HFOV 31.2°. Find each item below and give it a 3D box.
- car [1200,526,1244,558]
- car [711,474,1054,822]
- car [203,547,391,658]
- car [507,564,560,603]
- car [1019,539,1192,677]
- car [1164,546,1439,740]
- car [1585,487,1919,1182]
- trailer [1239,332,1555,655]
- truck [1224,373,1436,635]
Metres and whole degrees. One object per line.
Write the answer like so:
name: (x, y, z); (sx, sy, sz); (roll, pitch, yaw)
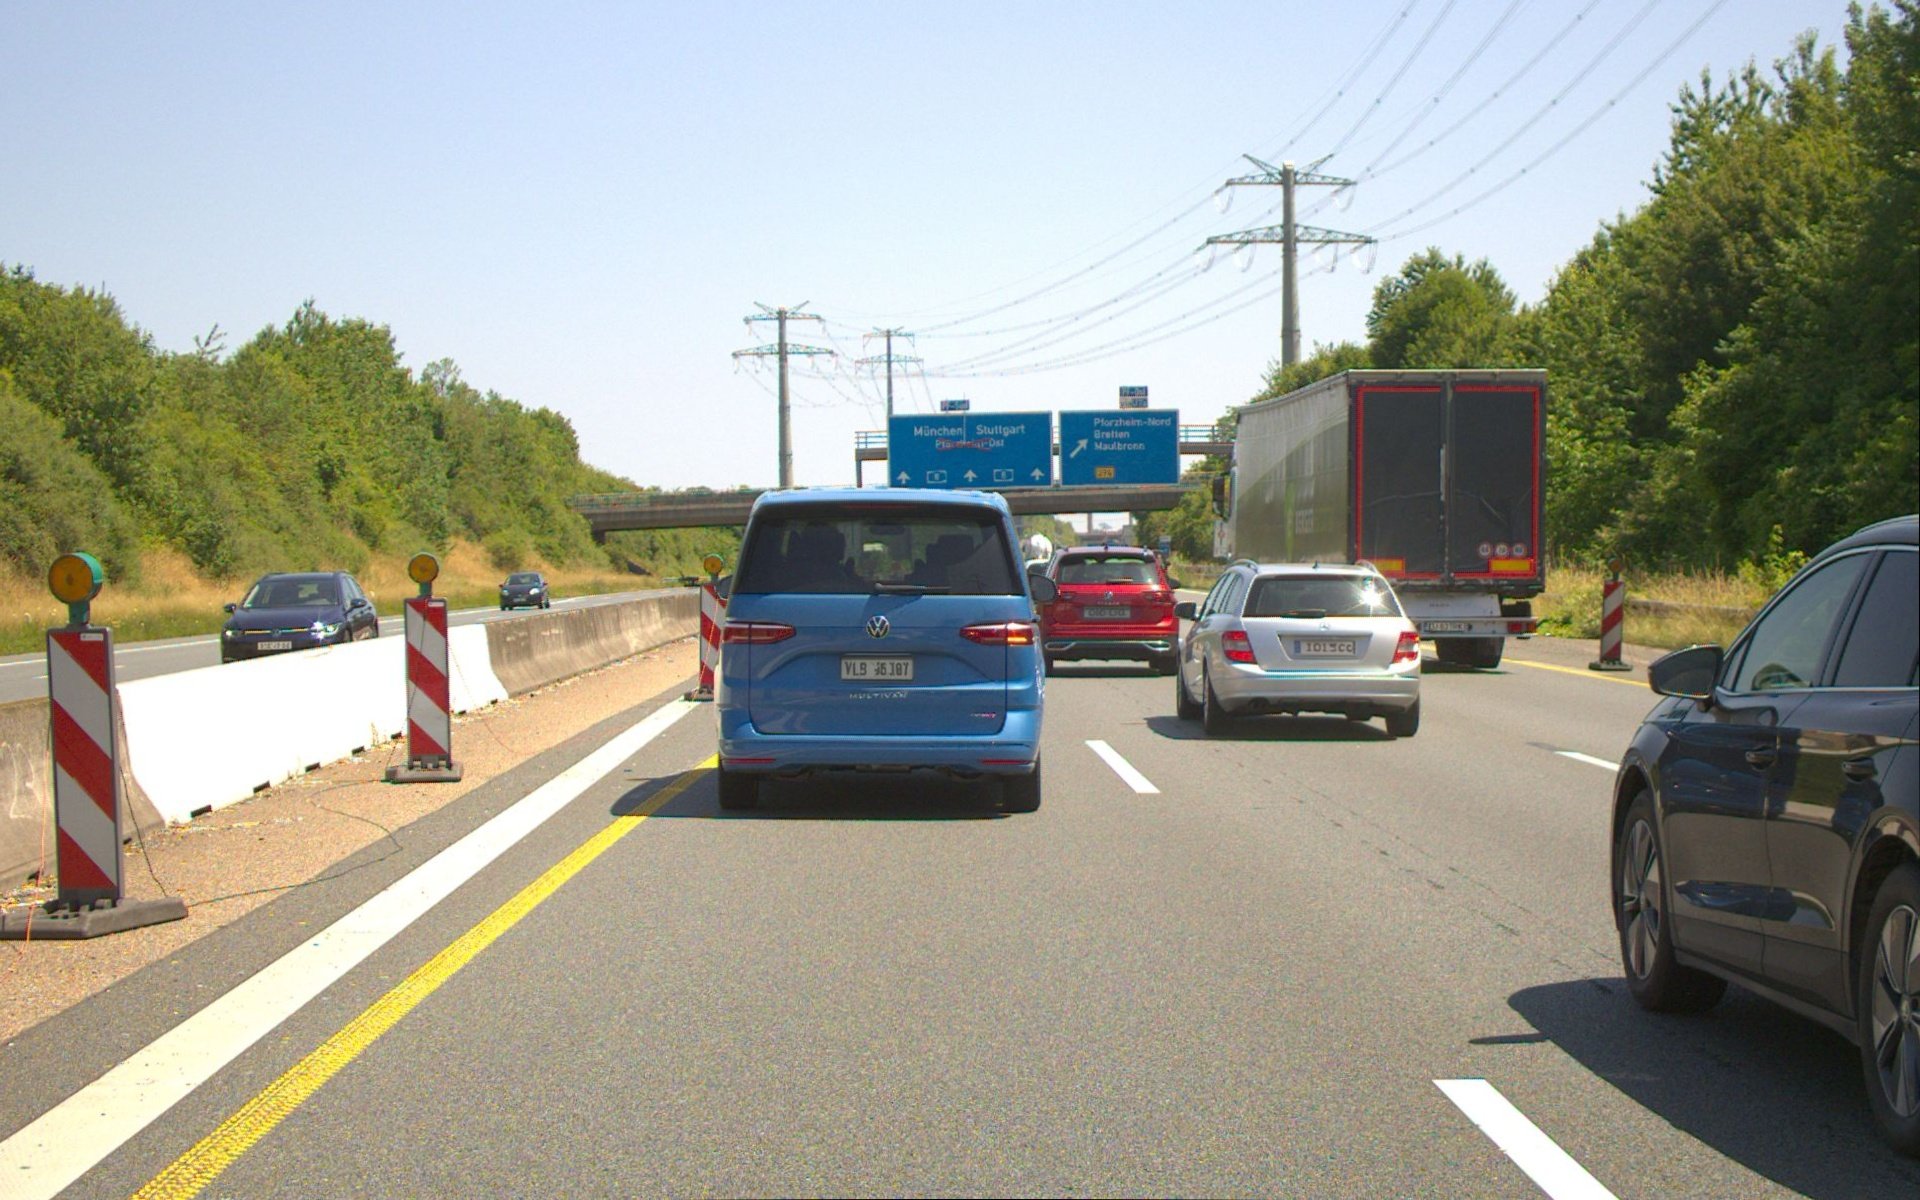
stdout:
car: (13.965, -3.102, 183.383); (1.874, 1.665, 4.360); (1, 1, -2)
car: (-0.504, 0.243, 21.278); (1.874, 1.905, 4.360); (1, 1, -2)
car: (-9.550, -0.001, 49.851); (1.862, 1.485, 4.493); (-1, 1, -1)
car: (-16.928, -0.659, 136.568); (1.708, 1.459, 3.850); (-2, 1, -2)
car: (1.820, 0.076, 44.310); (1.874, 1.665, 4.360); (1, 1, -2)
car: (2.853, 0.319, 29.587); (1.770, 1.512, 4.360); (1, 1, -2)
car: (3.087, 0.554, 9.581); (1.700, 1.649, 4.430); (1, 1, -2)
trailer: (6.061, -1.414, 50.046); (2.783, 4.033, 13.112); (1, 1, 0)
truck: (5.994, -1.530, 56.504); (2.733, 4.033, 5.794); (1, 1, -1)
